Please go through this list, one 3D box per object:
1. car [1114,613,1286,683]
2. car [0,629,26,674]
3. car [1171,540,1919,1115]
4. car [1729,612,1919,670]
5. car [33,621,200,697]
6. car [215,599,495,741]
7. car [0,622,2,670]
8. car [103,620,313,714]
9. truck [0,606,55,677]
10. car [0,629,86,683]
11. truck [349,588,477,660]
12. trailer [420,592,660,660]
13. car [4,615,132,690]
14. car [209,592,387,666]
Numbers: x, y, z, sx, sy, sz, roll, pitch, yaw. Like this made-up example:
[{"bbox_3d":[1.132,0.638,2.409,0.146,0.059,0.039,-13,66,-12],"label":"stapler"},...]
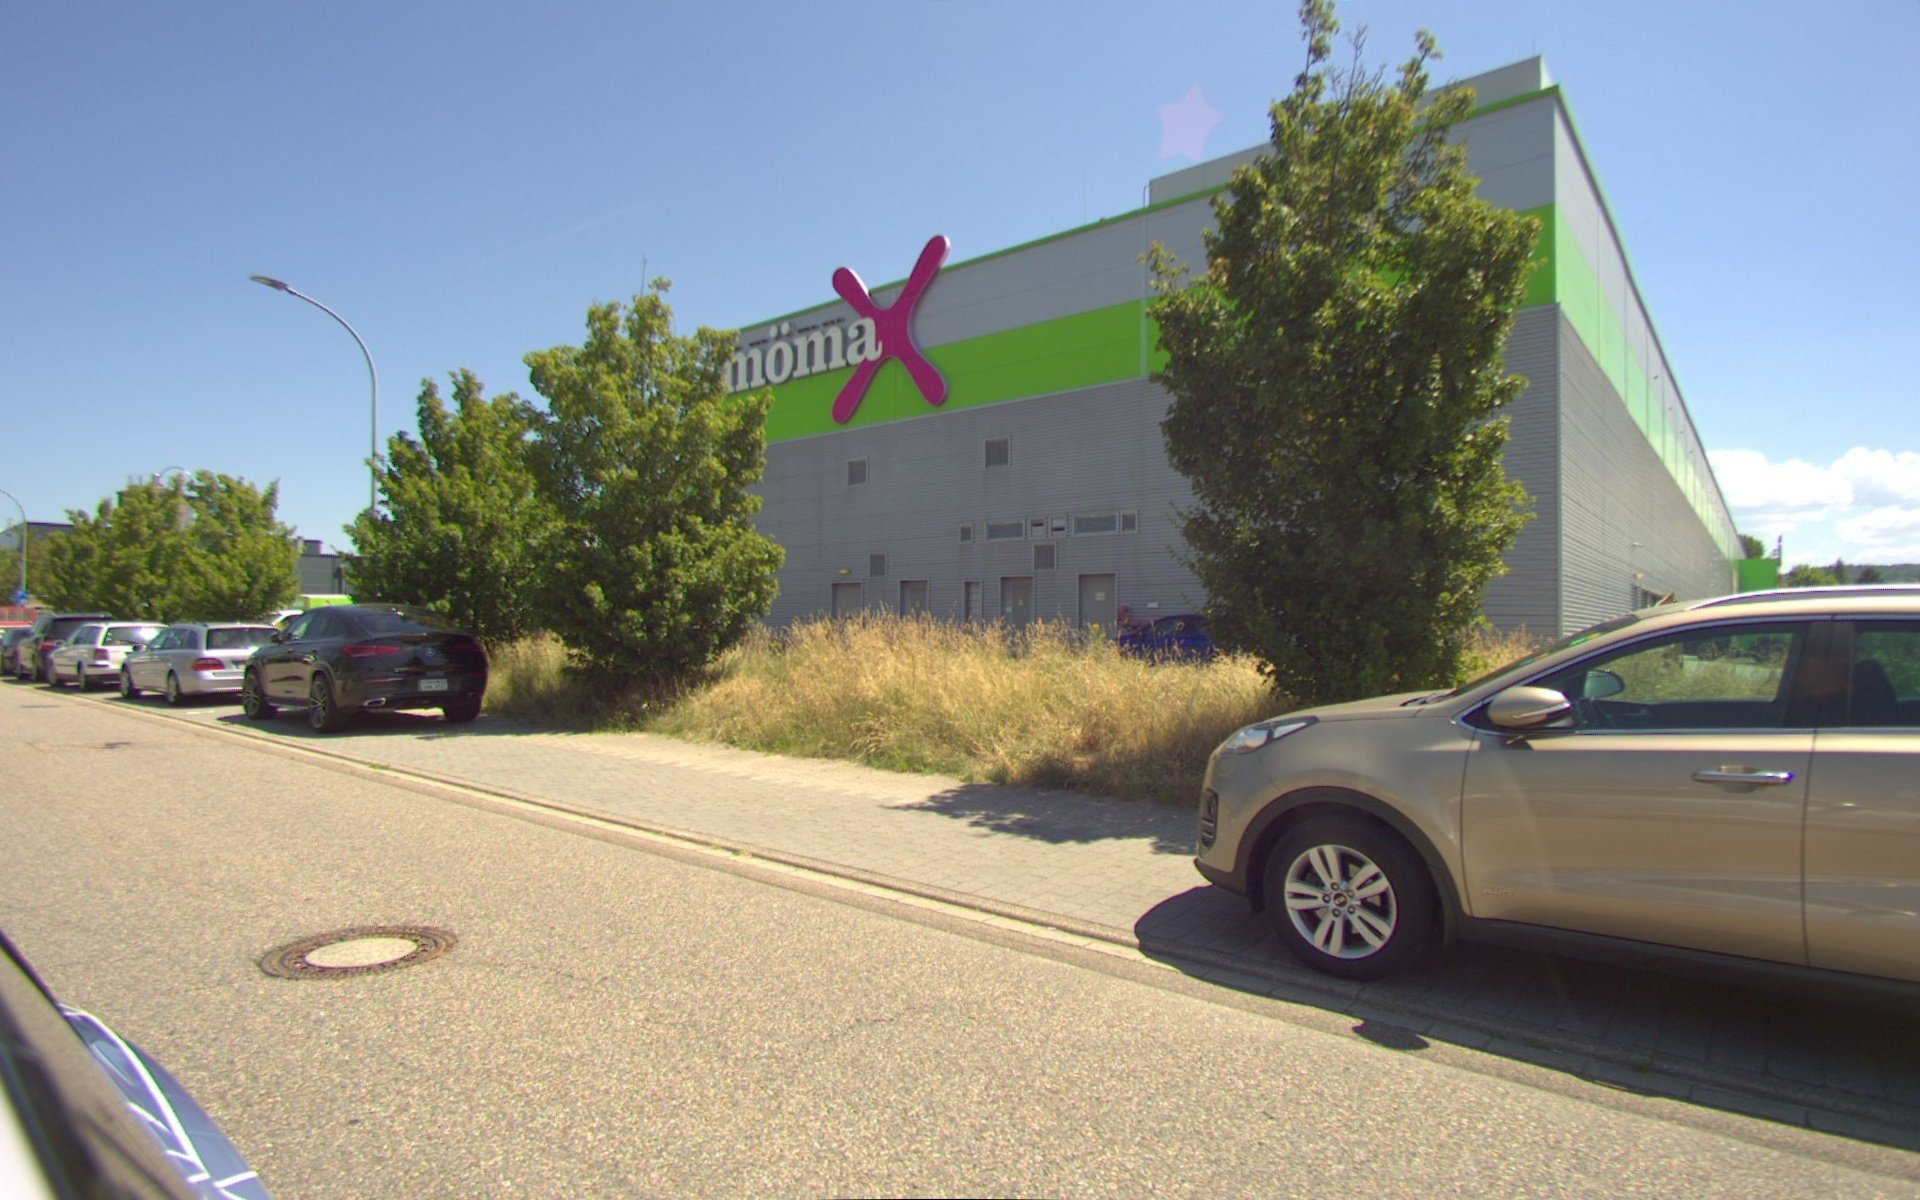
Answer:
[{"bbox_3d":[5.030,0.982,21.402,3.235,1.362,1.417,-2,-1,40],"label":"car"},{"bbox_3d":[-35.535,1.858,36.730,3.761,1.562,1.834,-2,-1,38],"label":"car"},{"bbox_3d":[3.268,0.693,3.957,4.408,1.726,1.893,-2,-1,39],"label":"car"},{"bbox_3d":[22.756,1.059,26.588,3.995,1.423,1.974,-2,-2,38],"label":"car"},{"bbox_3d":[-19.034,1.269,22.766,4.896,1.530,1.834,-2,-1,37],"label":"car"},{"bbox_3d":[-8.939,0.918,14.753,5.003,1.726,1.971,-2,-1,40],"label":"car"},{"bbox_3d":[-40.315,1.861,40.726,5.397,1.915,1.954,-2,-1,40],"label":"car"},{"bbox_3d":[-14.282,1.187,19.106,5.158,1.530,1.834,-2,-1,37],"label":"car"},{"bbox_3d":[-31.966,1.373,33.858,4.641,2.239,1.833,-2,-1,39],"label":"truck"},{"bbox_3d":[-27.821,1.627,30.240,4.749,1.454,1.833,-2,-1,40],"label":"car"},{"bbox_3d":[-33.358,1.562,61.832,3.217,4.119,6.042,-2,-4,40],"label":"truck"},{"bbox_3d":[-27.799,1.955,68.389,3.217,4.119,15.162,-2,-4,40],"label":"trailer"},{"bbox_3d":[-23.330,1.321,26.392,4.983,1.772,1.832,-2,-1,41],"label":"car"},{"bbox_3d":[-28.186,1.226,43.301,2.518,2.948,5.915,-2,-2,39],"label":"car"}]
